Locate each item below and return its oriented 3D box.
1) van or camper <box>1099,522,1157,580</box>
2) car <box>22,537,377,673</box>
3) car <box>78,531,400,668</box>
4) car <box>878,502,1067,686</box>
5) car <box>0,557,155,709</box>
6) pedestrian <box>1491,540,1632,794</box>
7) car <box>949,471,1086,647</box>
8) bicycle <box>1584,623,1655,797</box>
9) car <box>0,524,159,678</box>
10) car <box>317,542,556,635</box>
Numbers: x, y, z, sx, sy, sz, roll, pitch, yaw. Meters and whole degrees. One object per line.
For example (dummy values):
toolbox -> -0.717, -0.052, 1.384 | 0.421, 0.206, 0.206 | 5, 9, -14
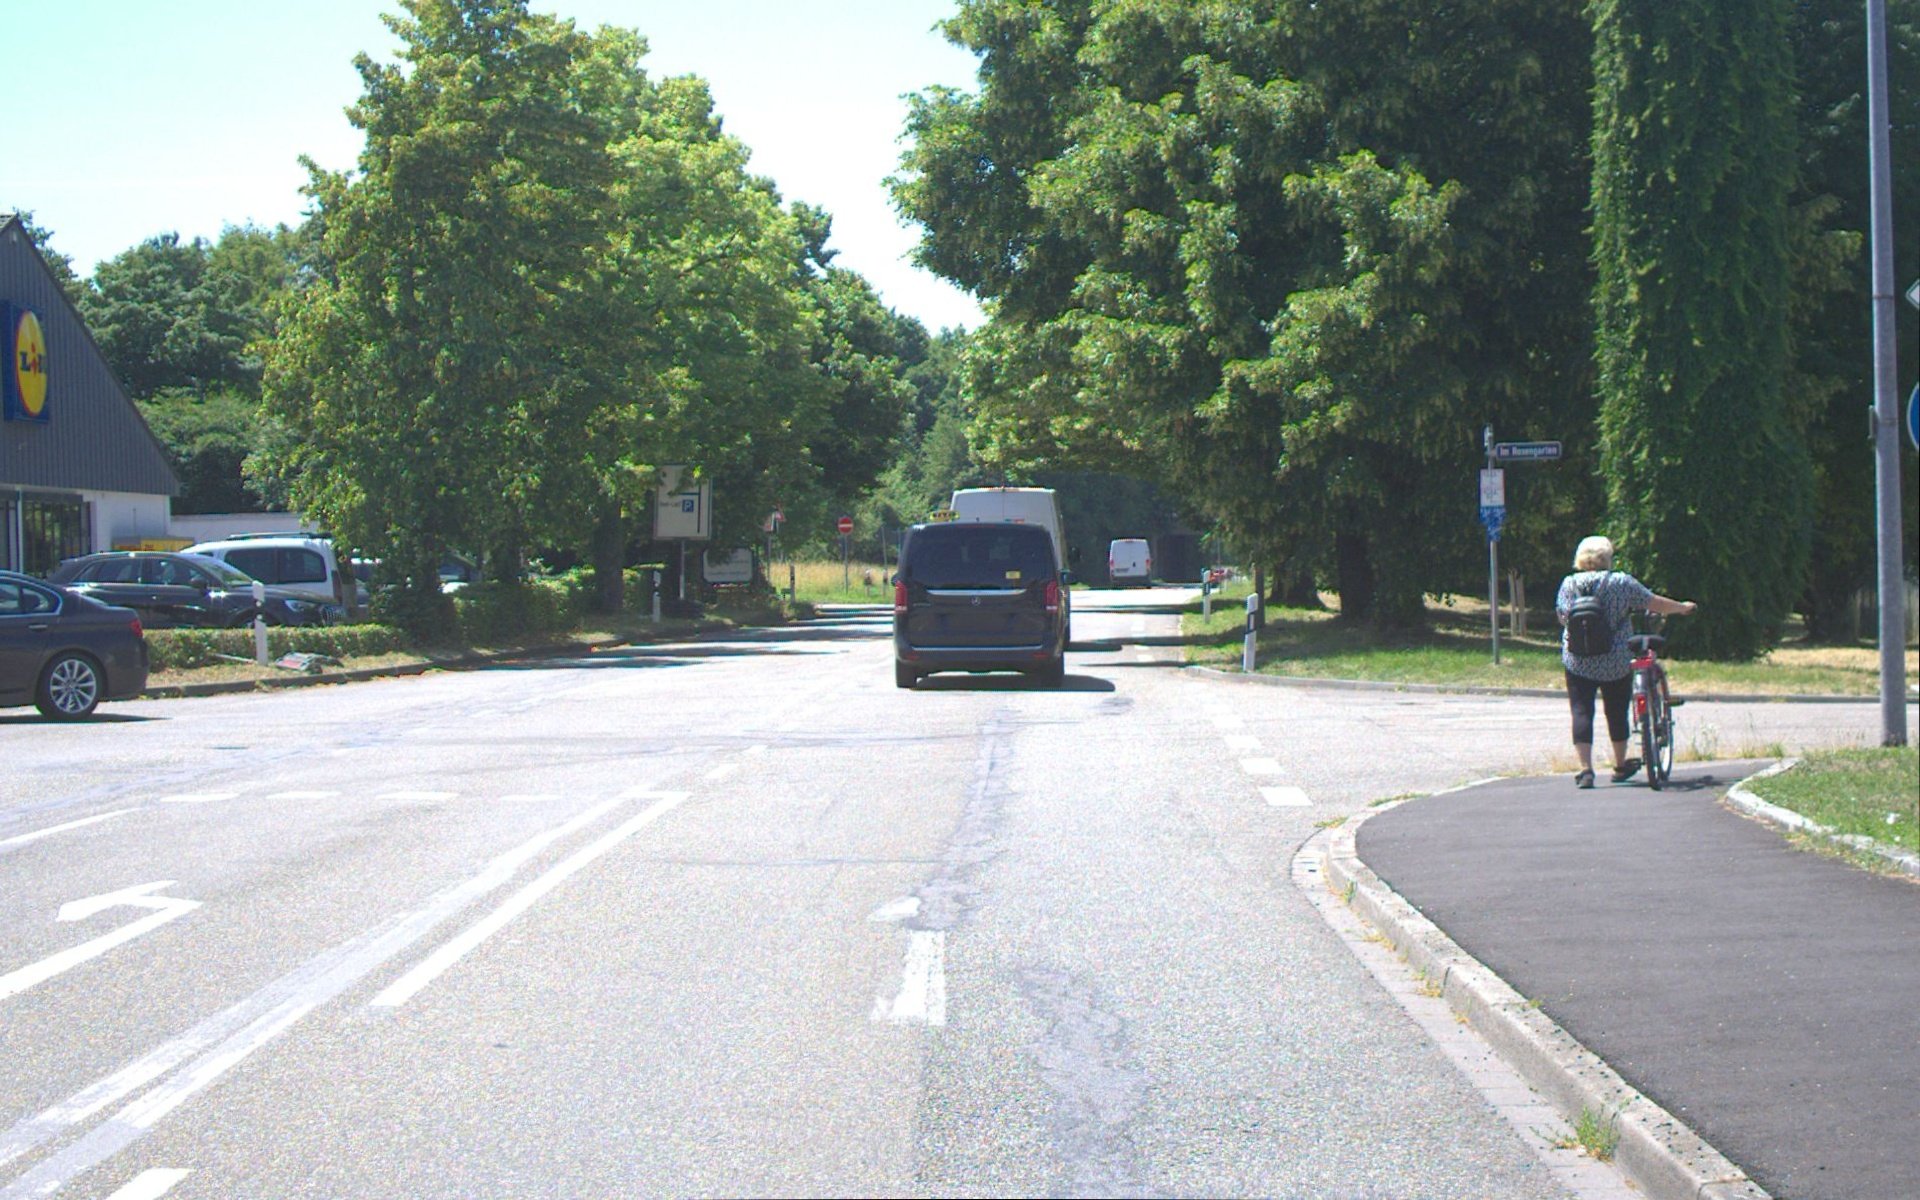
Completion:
van or camper -> 8.703, -2.517, 178.773 | 2.631, 2.919, 5.207 | 1, 0, -1
car -> -10.627, 0.063, 48.195 | 4.386, 1.839, 2.103 | 0, 0, 8
car -> -10.638, -0.010, 50.914 | 4.356, 1.973, 1.905 | 0, 0, 0
car -> 0.153, -0.088, 39.658 | 1.993, 1.946, 5.005 | 1, 0, 0
car -> -9.928, 0.298, 31.562 | 1.937, 1.396, 4.677 | 0, 0, 42
pedestrian -> 3.448, 0.366, 19.663 | 0.769, 1.416, 0.867 | 0, 1, 12
car -> 0.984, -0.662, 55.860 | 2.078, 2.693, 4.666 | 1, 0, 2
bicycle -> 3.729, 0.601, 19.408 | 0.378, 0.909, 1.597 | 0, 1, 11
car -> -12.131, 0.001, 40.721 | 4.709, 1.756, 2.098 | 0, 0, 7
car -> -10.408, -0.234, 68.614 | 4.401, 1.770, 2.072 | 1, 0, 1
